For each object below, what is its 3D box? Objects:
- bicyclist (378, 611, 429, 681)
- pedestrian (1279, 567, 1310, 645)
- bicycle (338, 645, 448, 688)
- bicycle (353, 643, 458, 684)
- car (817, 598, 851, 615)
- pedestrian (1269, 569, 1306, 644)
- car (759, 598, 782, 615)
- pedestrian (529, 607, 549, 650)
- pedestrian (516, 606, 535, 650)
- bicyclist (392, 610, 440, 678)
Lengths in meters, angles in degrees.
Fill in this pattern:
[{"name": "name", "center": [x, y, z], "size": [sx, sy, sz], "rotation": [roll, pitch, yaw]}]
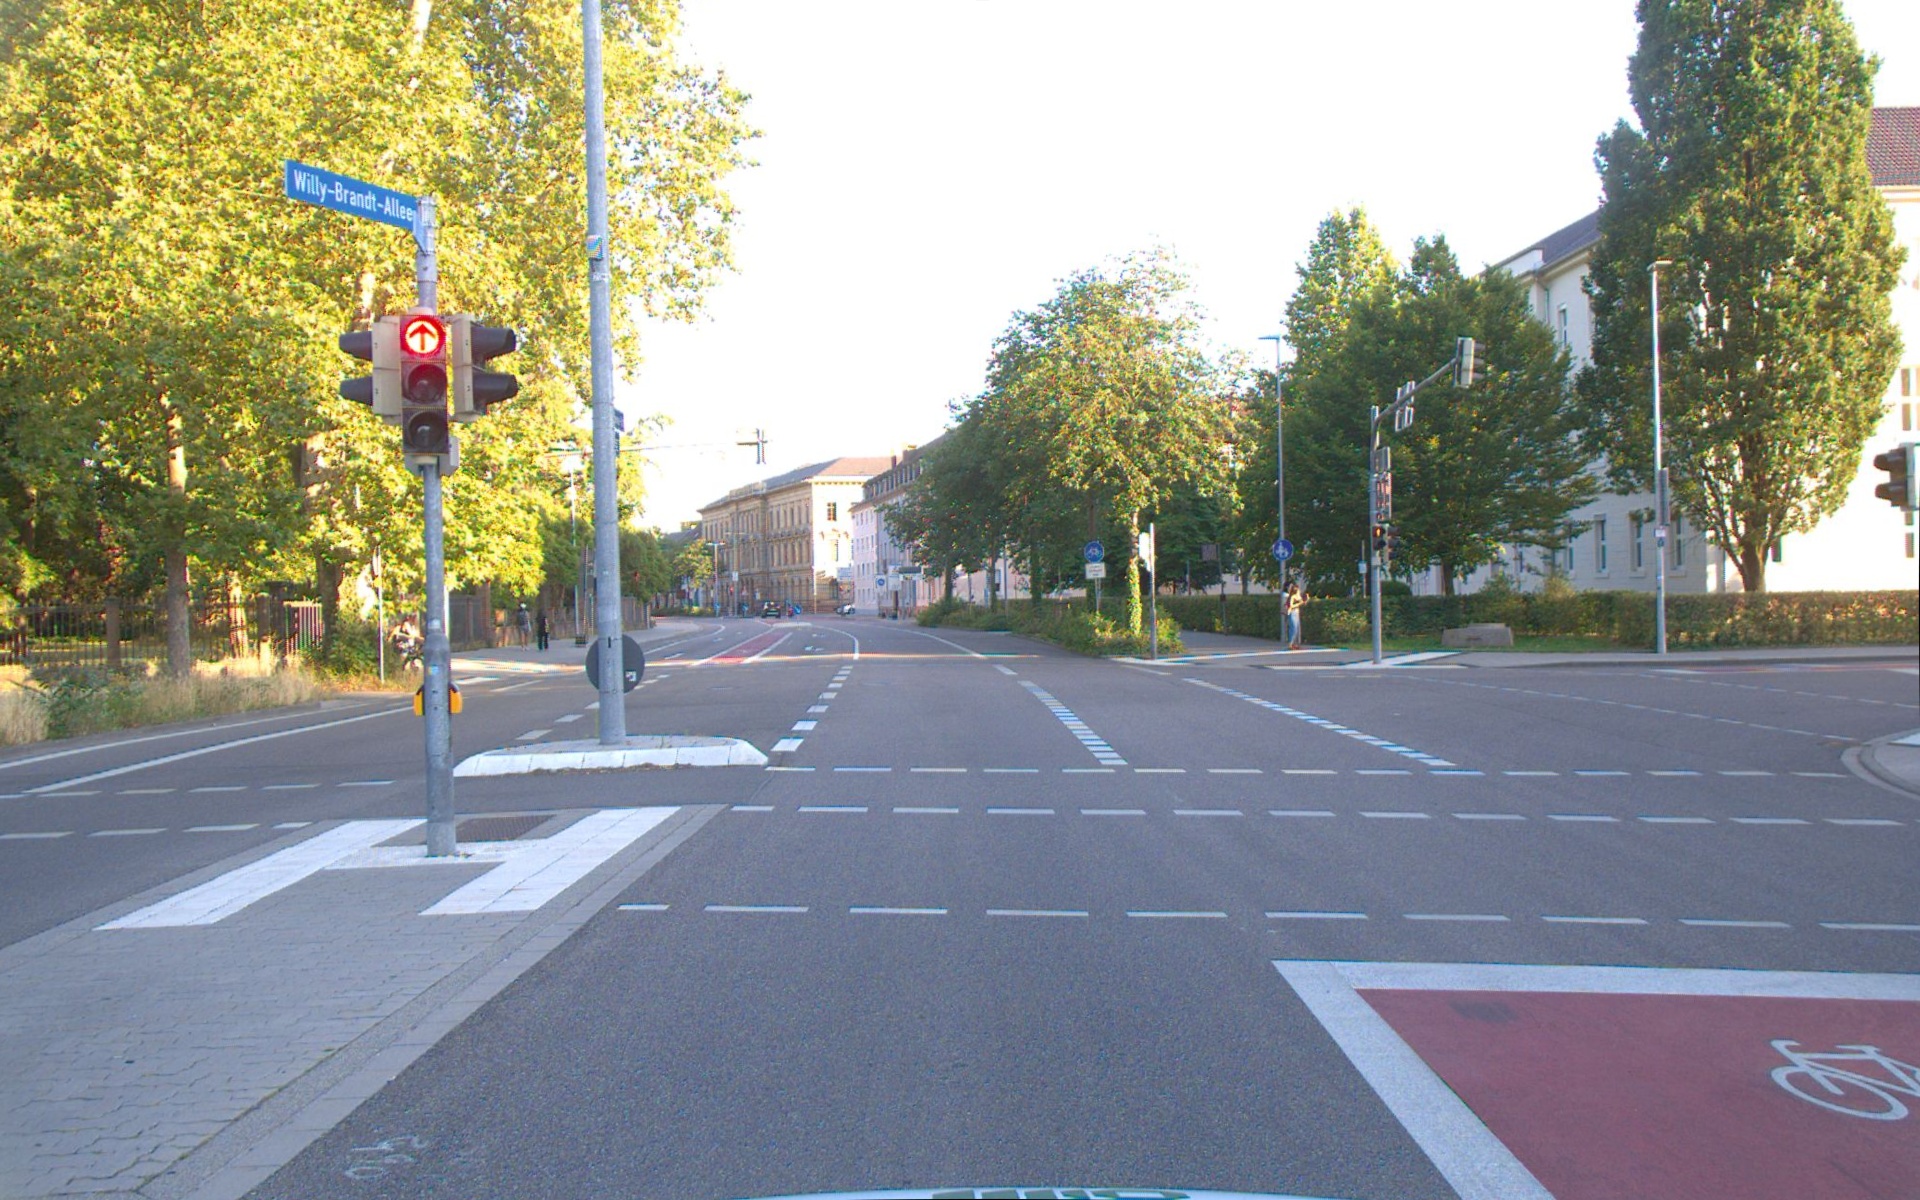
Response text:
[{"name": "bicyclist", "center": [-13.483, 1.104, 40.065], "size": [0.938, 1.659, 0.752], "rotation": [-1, 0, 0]}, {"name": "pedestrian", "center": [8.841, 0.155, 43.750], "size": [0.622, 2.049, 0.720], "rotation": [0, 0, -5]}, {"name": "bicycle", "center": [-13.725, 1.607, 40.061], "size": [2.380, 0.940, 0.775], "rotation": [-1, 0, 0]}, {"name": "bicycle", "center": [-13.996, 1.610, 41.772], "size": [2.380, 0.940, 0.775], "rotation": [-1, 0, 0]}, {"name": "car", "center": [-15.248, 0.747, 200.564], "size": [3.903, 2.049, 2.001], "rotation": [0, 0, 4]}, {"name": "pedestrian", "center": [8.960, 0.175, 45.237], "size": [0.852, 2.049, 0.722], "rotation": [0, 0, -1]}, {"name": "car", "center": [-19.455, 0.644, 169.422], "size": [1.789, 1.616, 3.984], "rotation": [-2, 0, -15]}, {"name": "pedestrian", "center": [-15.904, 1.060, 62.506], "size": [0.587, 1.601, 0.646], "rotation": [-1, 0, -1]}, {"name": "pedestrian", "center": [-16.409, 1.056, 62.499], "size": [0.524, 1.624, 0.590], "rotation": [-1, 0, -1]}, {"name": "bicyclist", "center": [-13.733, 1.104, 41.779], "size": [0.938, 1.659, 0.752], "rotation": [-1, 0, 0]}]
